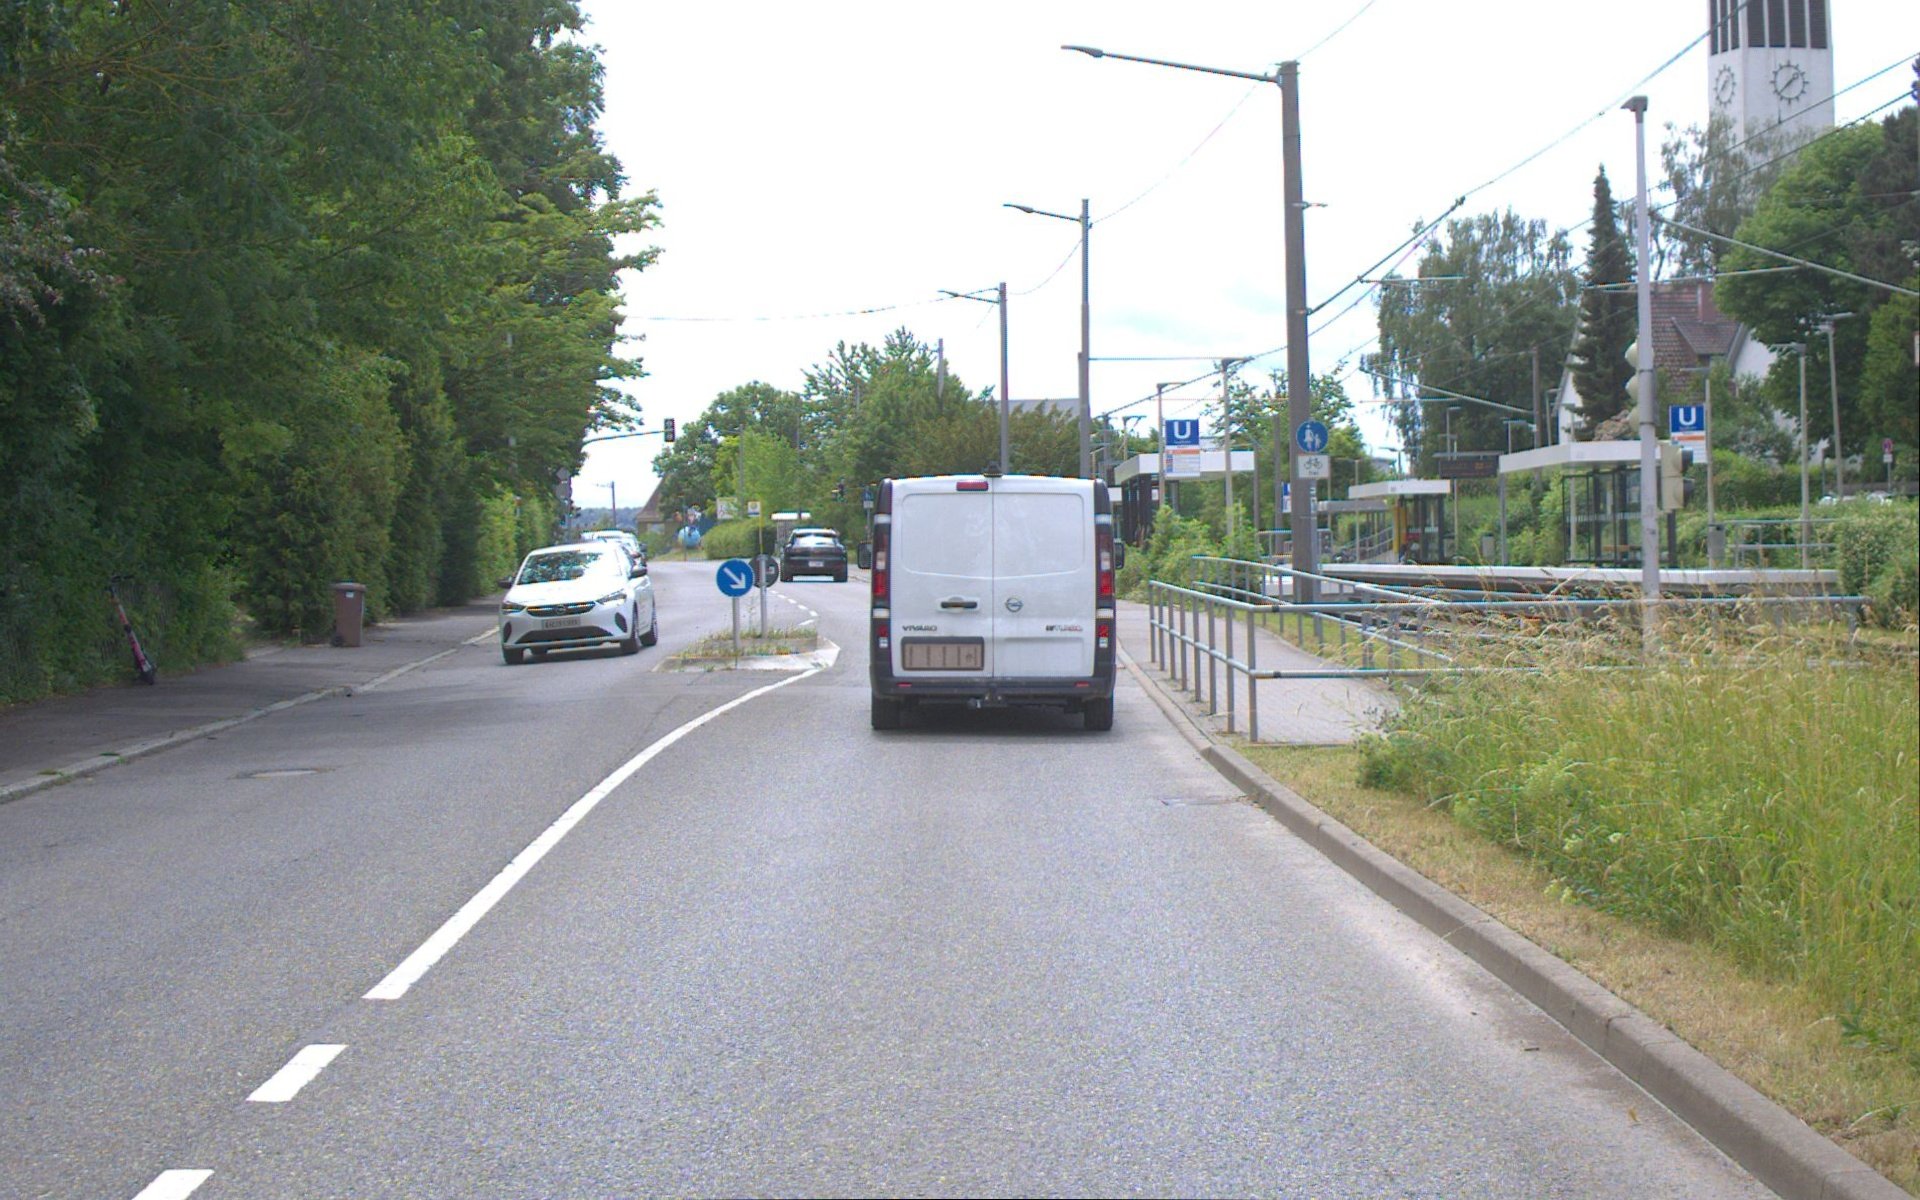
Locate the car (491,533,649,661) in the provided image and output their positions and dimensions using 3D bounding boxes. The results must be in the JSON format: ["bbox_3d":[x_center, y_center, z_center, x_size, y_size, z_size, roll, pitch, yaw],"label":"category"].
[{"bbox_3d":[-5.002,-0.067,44.488,1.693,1.425,3.787,-5,1,-3],"label":"car"}]

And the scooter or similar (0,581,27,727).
[{"bbox_3d":[-8.163,0.456,28.393,0.408,1.195,1.639,-1,1,1],"label":"scooter or similar"}]

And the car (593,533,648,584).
[{"bbox_3d":[-11.456,-1.412,115.964,1.761,1.620,4.186,-2,1,-6],"label":"car"}]

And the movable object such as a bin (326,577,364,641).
[{"bbox_3d":[-8.998,0.131,50.320,0.462,0.927,0.430,2,0,-17],"label":"movable object such as a bin"}]

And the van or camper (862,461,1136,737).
[{"bbox_3d":[0.316,-0.026,27.372,1.993,2.007,4.446,0,0,1],"label":"van or camper"}]

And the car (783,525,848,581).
[{"bbox_3d":[-4.406,-1.437,104.567,1.852,1.642,3.735,-1,1,-4],"label":"car"}]
